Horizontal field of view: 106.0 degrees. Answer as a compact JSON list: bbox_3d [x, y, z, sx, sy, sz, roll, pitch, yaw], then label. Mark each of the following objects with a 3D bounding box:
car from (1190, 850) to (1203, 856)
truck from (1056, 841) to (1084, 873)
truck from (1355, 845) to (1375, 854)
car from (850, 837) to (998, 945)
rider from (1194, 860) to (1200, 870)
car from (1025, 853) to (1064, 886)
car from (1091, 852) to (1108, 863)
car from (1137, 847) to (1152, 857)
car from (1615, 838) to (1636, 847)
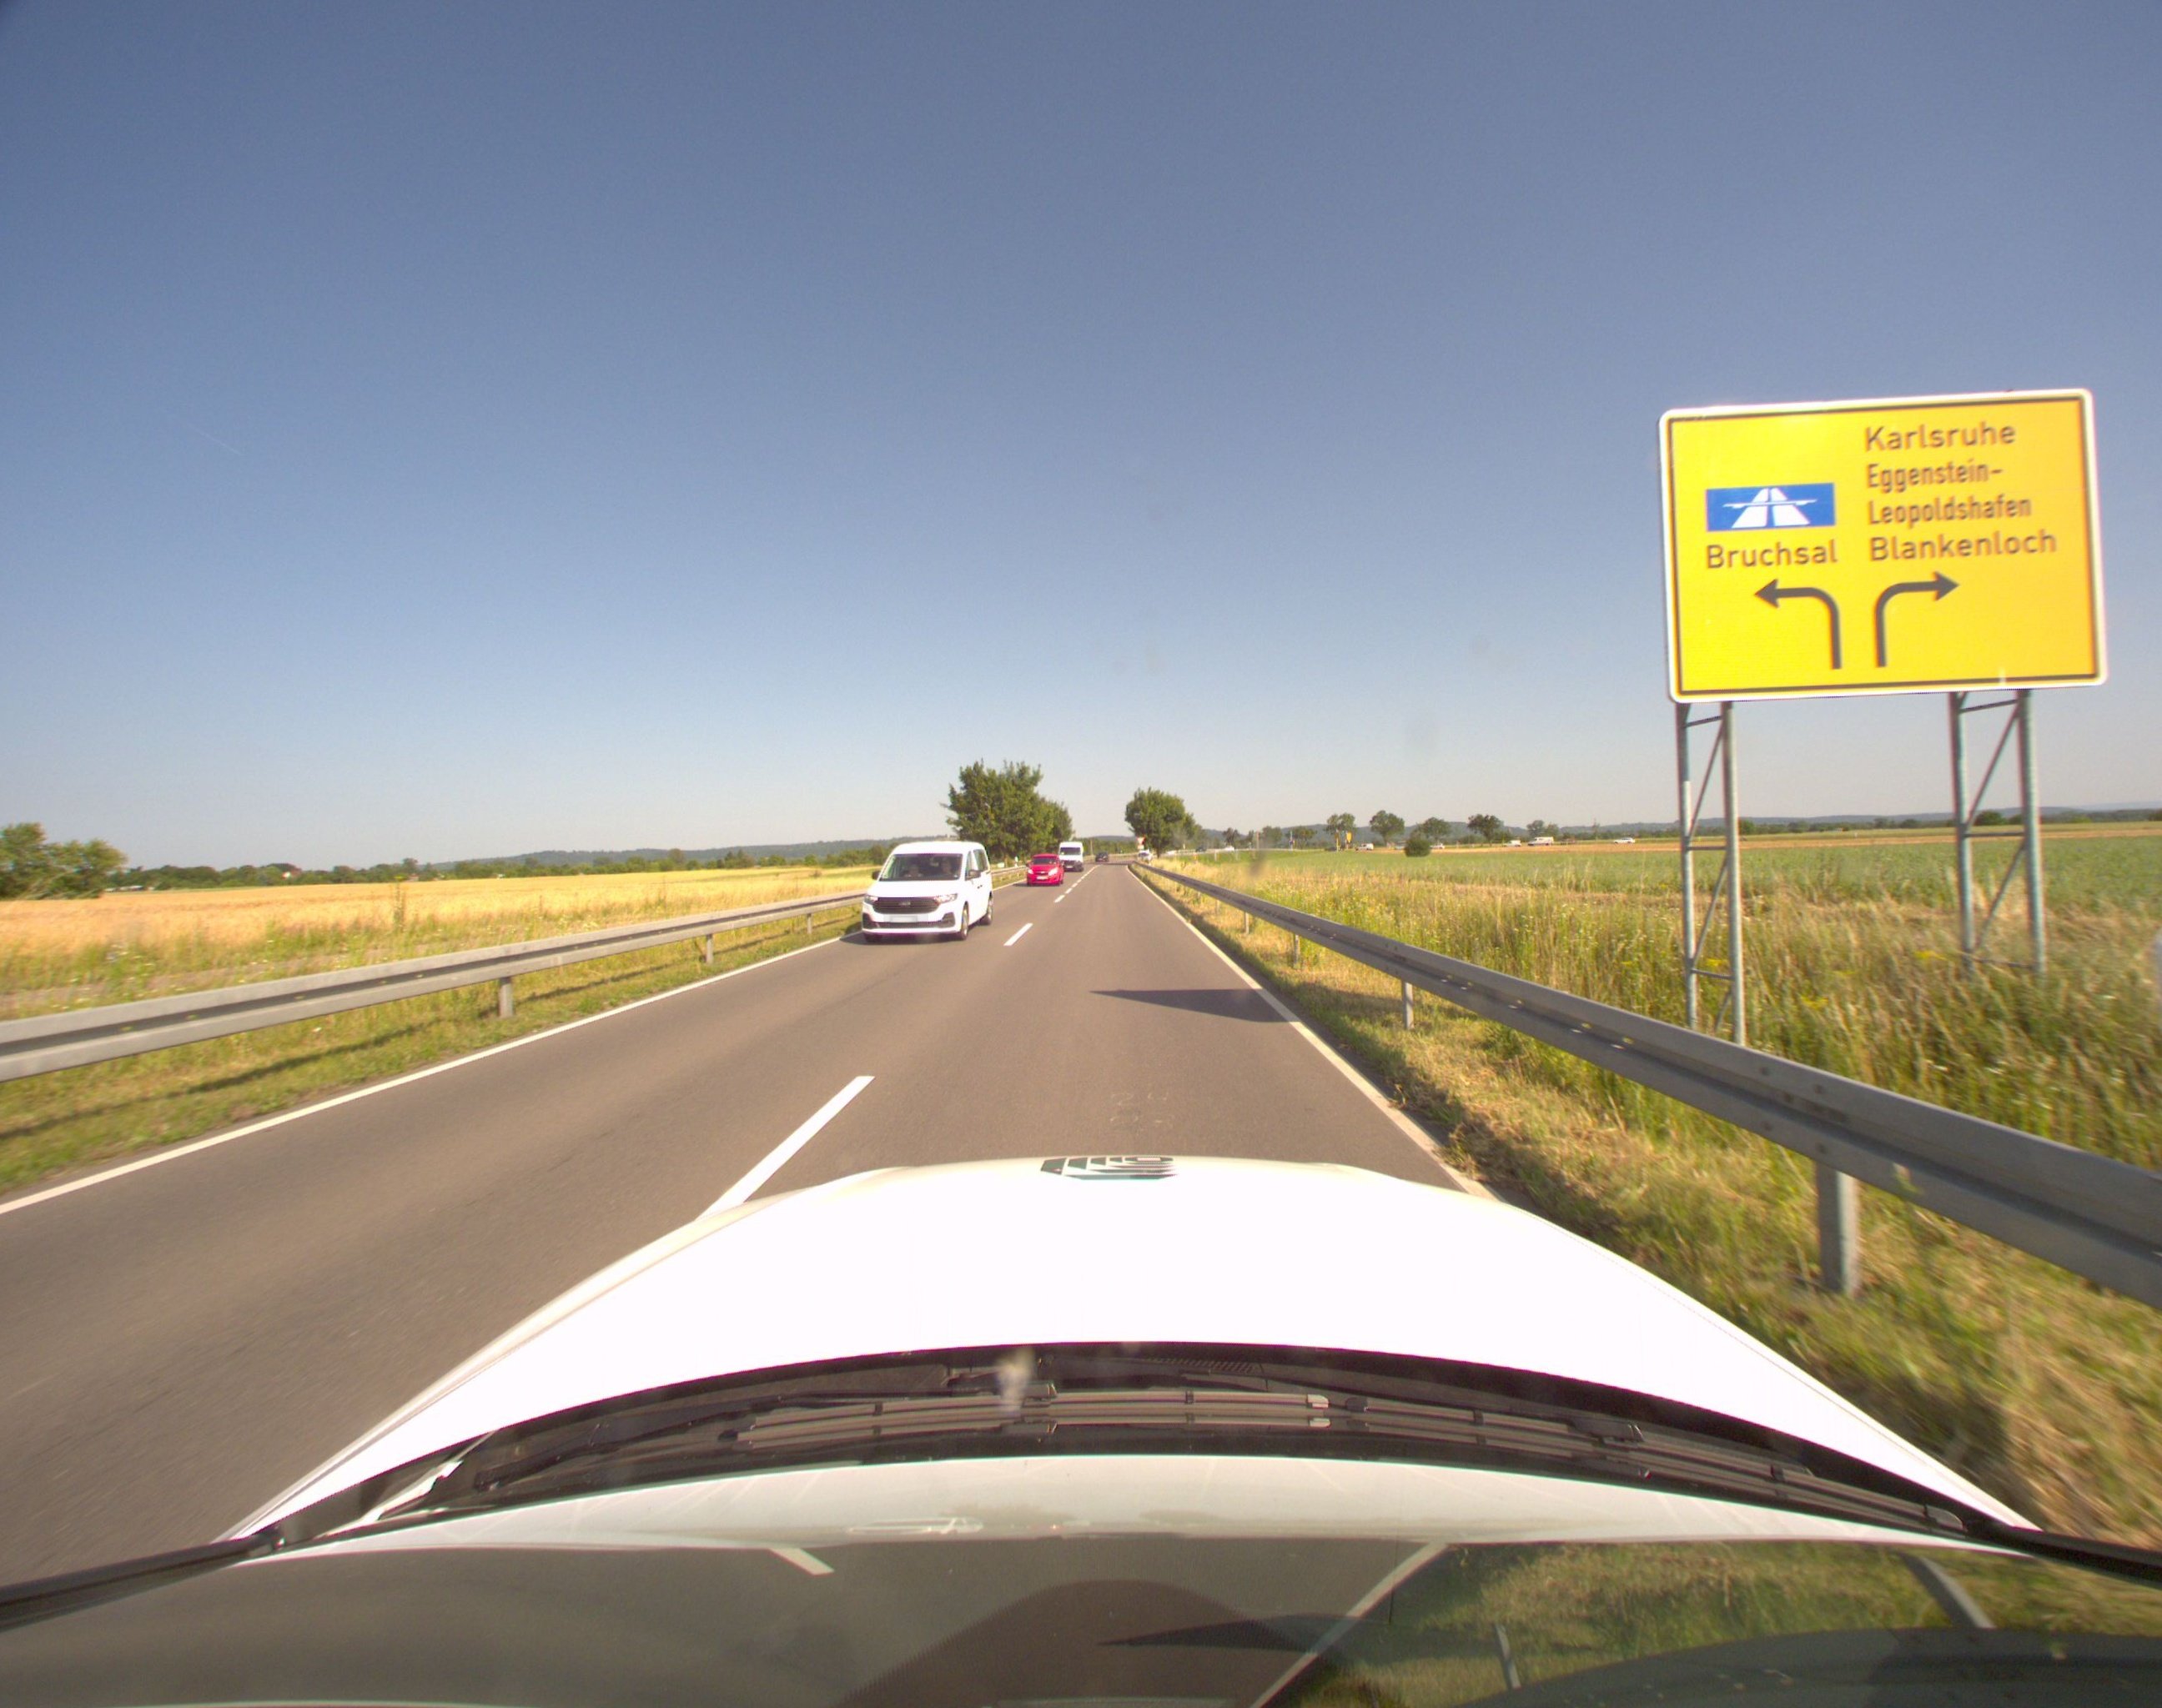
[{"bbox_3d":[27.270,-0.246,191.474,1.976,1.532,4.616,0,0,22],"label":"car"},{"bbox_3d":[-0.847,0.249,67.989,1.986,2.520,6.247,-1,0,2],"label":"truck"},{"bbox_3d":[80.997,-1.328,232.500,5.003,2.529,2.012,-1,-1,42],"label":"truck"},{"bbox_3d":[-2.909,0.623,16.096,1.829,1.787,4.437,-1,0,2],"label":"car"},{"bbox_3d":[17.579,1.706,123.373,0.604,1.527,1.834,0,-1,17],"label":"rider"},{"bbox_3d":[-1.731,0.725,39.717,1.600,1.488,3.782,-1,0,2],"label":"car"},{"bbox_3d":[2.581,0.496,114.042,1.632,1.471,3.820,-1,0,13],"label":"car"},{"bbox_3d":[11.920,-0.435,152.411,1.978,1.884,4.612,0,0,17],"label":"car"},{"bbox_3d":[130.069,-2.759,194.654,3.948,2.014,2.013,-3,-1,39],"label":"car"}]
